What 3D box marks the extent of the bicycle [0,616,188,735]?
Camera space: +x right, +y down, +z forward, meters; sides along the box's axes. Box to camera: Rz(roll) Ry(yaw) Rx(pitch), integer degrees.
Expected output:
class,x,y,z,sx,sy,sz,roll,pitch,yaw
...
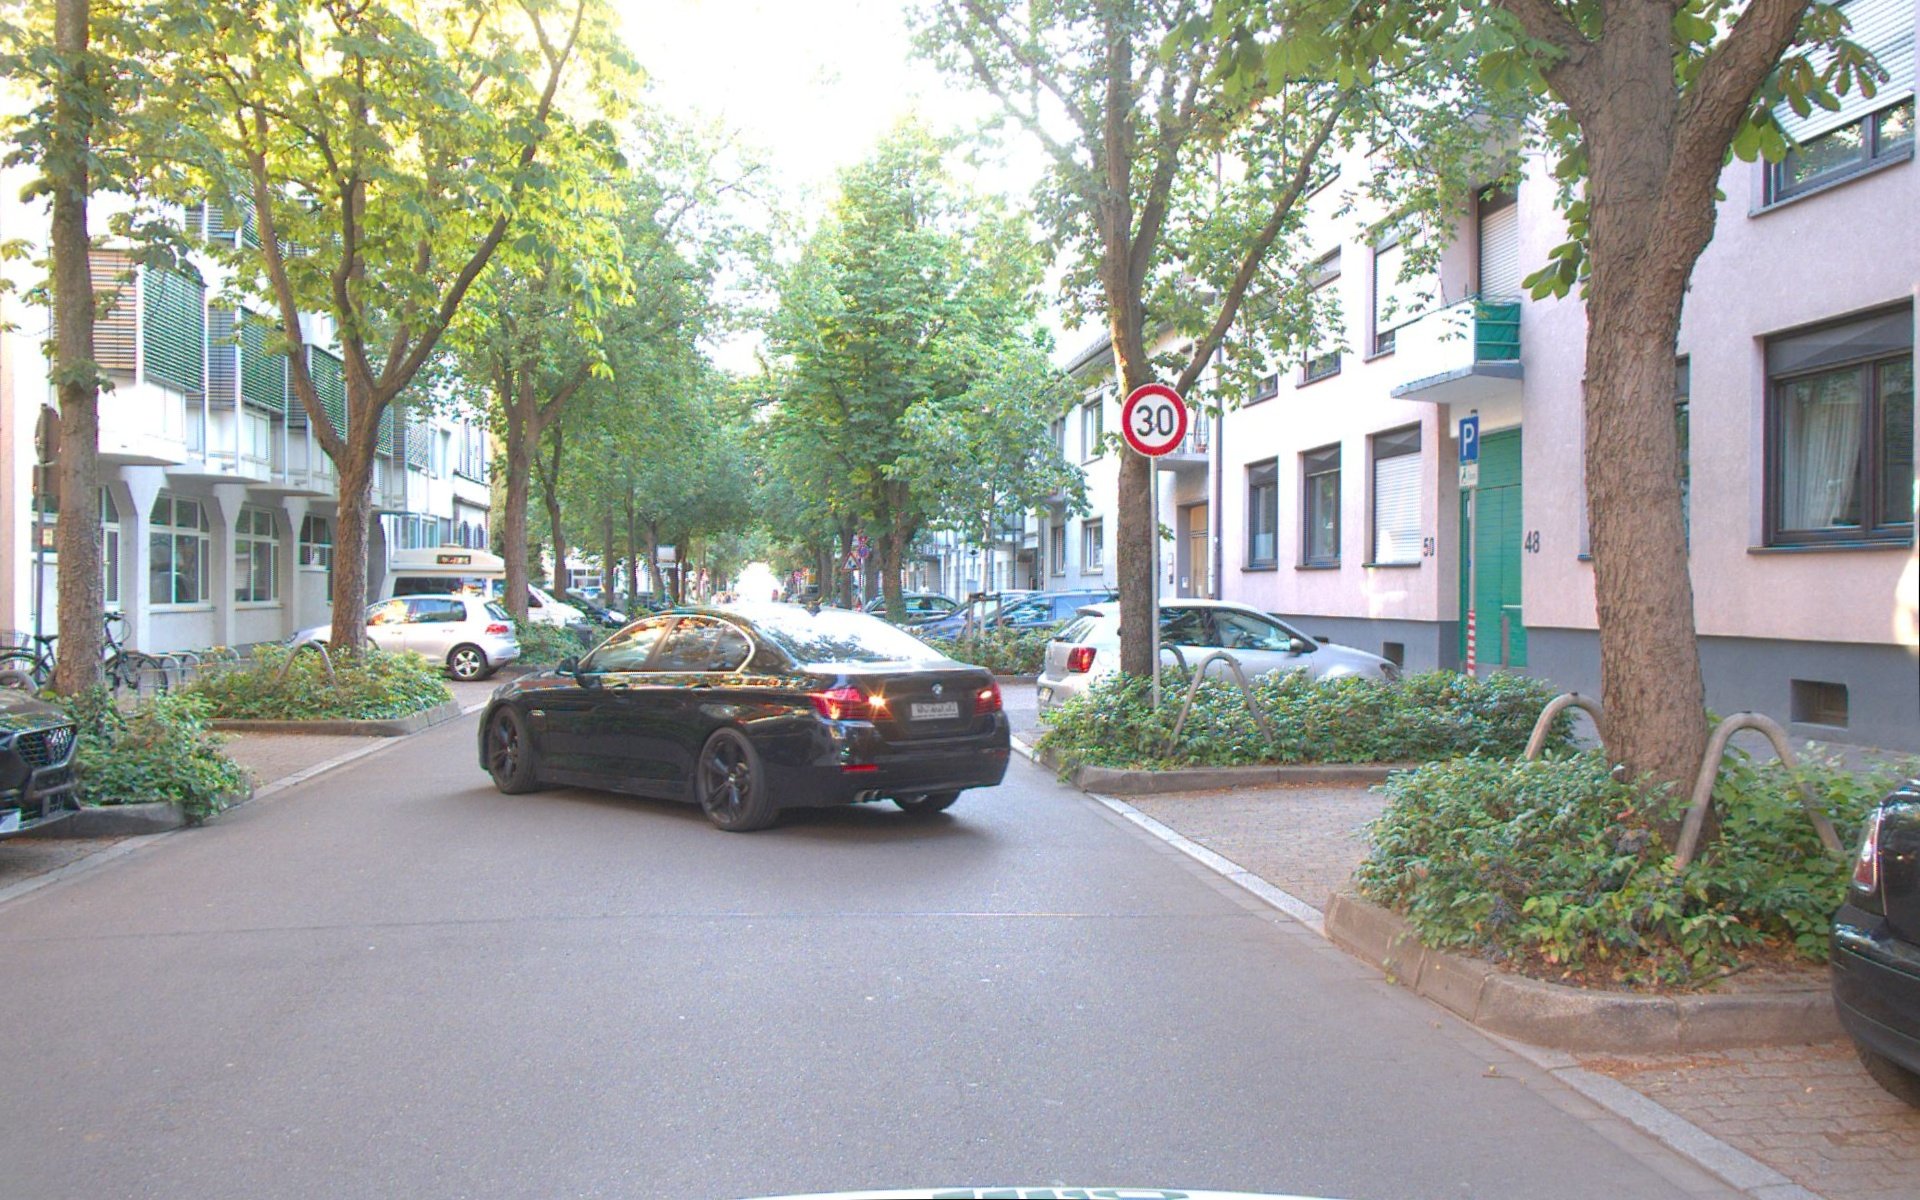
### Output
class,x,y,z,sx,sy,sz,roll,pitch,yaw
bicycle,-9.368,0.789,17.716,1.939,1.220,0.499,0,0,-18

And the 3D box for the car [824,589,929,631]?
class,x,y,z,sx,sy,sz,roll,pitch,yaw
car,-2.975,0.334,58.840,3.589,1.417,1.562,-1,0,-9

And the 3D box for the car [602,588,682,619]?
class,x,y,z,sx,sy,sz,roll,pitch,yaw
car,-16.550,0.170,86.171,3.945,1.497,1.637,1,0,-8

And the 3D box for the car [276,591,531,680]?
class,x,y,z,sx,sy,sz,roll,pitch,yaw
car,-9.893,0.626,29.644,4.054,1.497,1.637,1,0,-8

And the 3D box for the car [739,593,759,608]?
class,x,y,z,sx,sy,sz,roll,pitch,yaw
car,-21.329,0.011,167.378,1.858,1.500,3.995,0,0,-6

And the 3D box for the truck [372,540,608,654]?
class,x,y,z,sx,sy,sz,roll,pitch,yaw
truck,-10.686,-0.082,37.895,4.903,2.483,1.914,1,1,-6

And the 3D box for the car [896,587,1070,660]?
class,x,y,z,sx,sy,sz,roll,pitch,yaw
car,0.487,0.513,37.363,3.722,1.556,1.562,-1,0,-9

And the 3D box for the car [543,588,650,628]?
class,x,y,z,sx,sy,sz,roll,pitch,yaw
car,-14.351,0.293,65.474,3.945,1.497,1.637,1,0,-8

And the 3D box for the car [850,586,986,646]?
class,x,y,z,sx,sy,sz,roll,pitch,yaw
car,-1.182,0.430,45.990,3.589,1.563,1.562,-1,0,-9

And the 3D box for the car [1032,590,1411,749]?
class,x,y,z,sx,sy,sz,roll,pitch,yaw
car,2.665,0.671,17.217,3.589,1.505,1.562,-1,0,-9

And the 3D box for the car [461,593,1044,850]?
class,x,y,z,sx,sy,sz,roll,pitch,yaw
car,-1.668,0.700,11.897,1.755,1.475,4.590,0,1,-45

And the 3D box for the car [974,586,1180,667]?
class,x,y,z,sx,sy,sz,roll,pitch,yaw
car,2.169,0.466,30.995,3.589,1.417,1.562,-1,0,-9

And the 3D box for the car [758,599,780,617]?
class,x,y,z,sx,sy,sz,roll,pitch,yaw
car,-17.008,0.687,147.158,1.956,1.579,3.994,0,0,-7

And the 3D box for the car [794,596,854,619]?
class,x,y,z,sx,sy,sz,roll,pitch,yaw
car,-8.349,0.462,101.623,3.589,1.417,1.562,0,0,-9

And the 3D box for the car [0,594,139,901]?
class,x,y,z,sx,sy,sz,roll,pitch,yaw
car,-7.079,0.716,8.992,4.274,1.535,1.832,1,0,-8

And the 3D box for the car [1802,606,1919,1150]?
class,x,y,z,sx,sy,sz,roll,pitch,yaw
car,4.431,0.683,4.449,3.638,1.452,1.622,-3,1,-12
